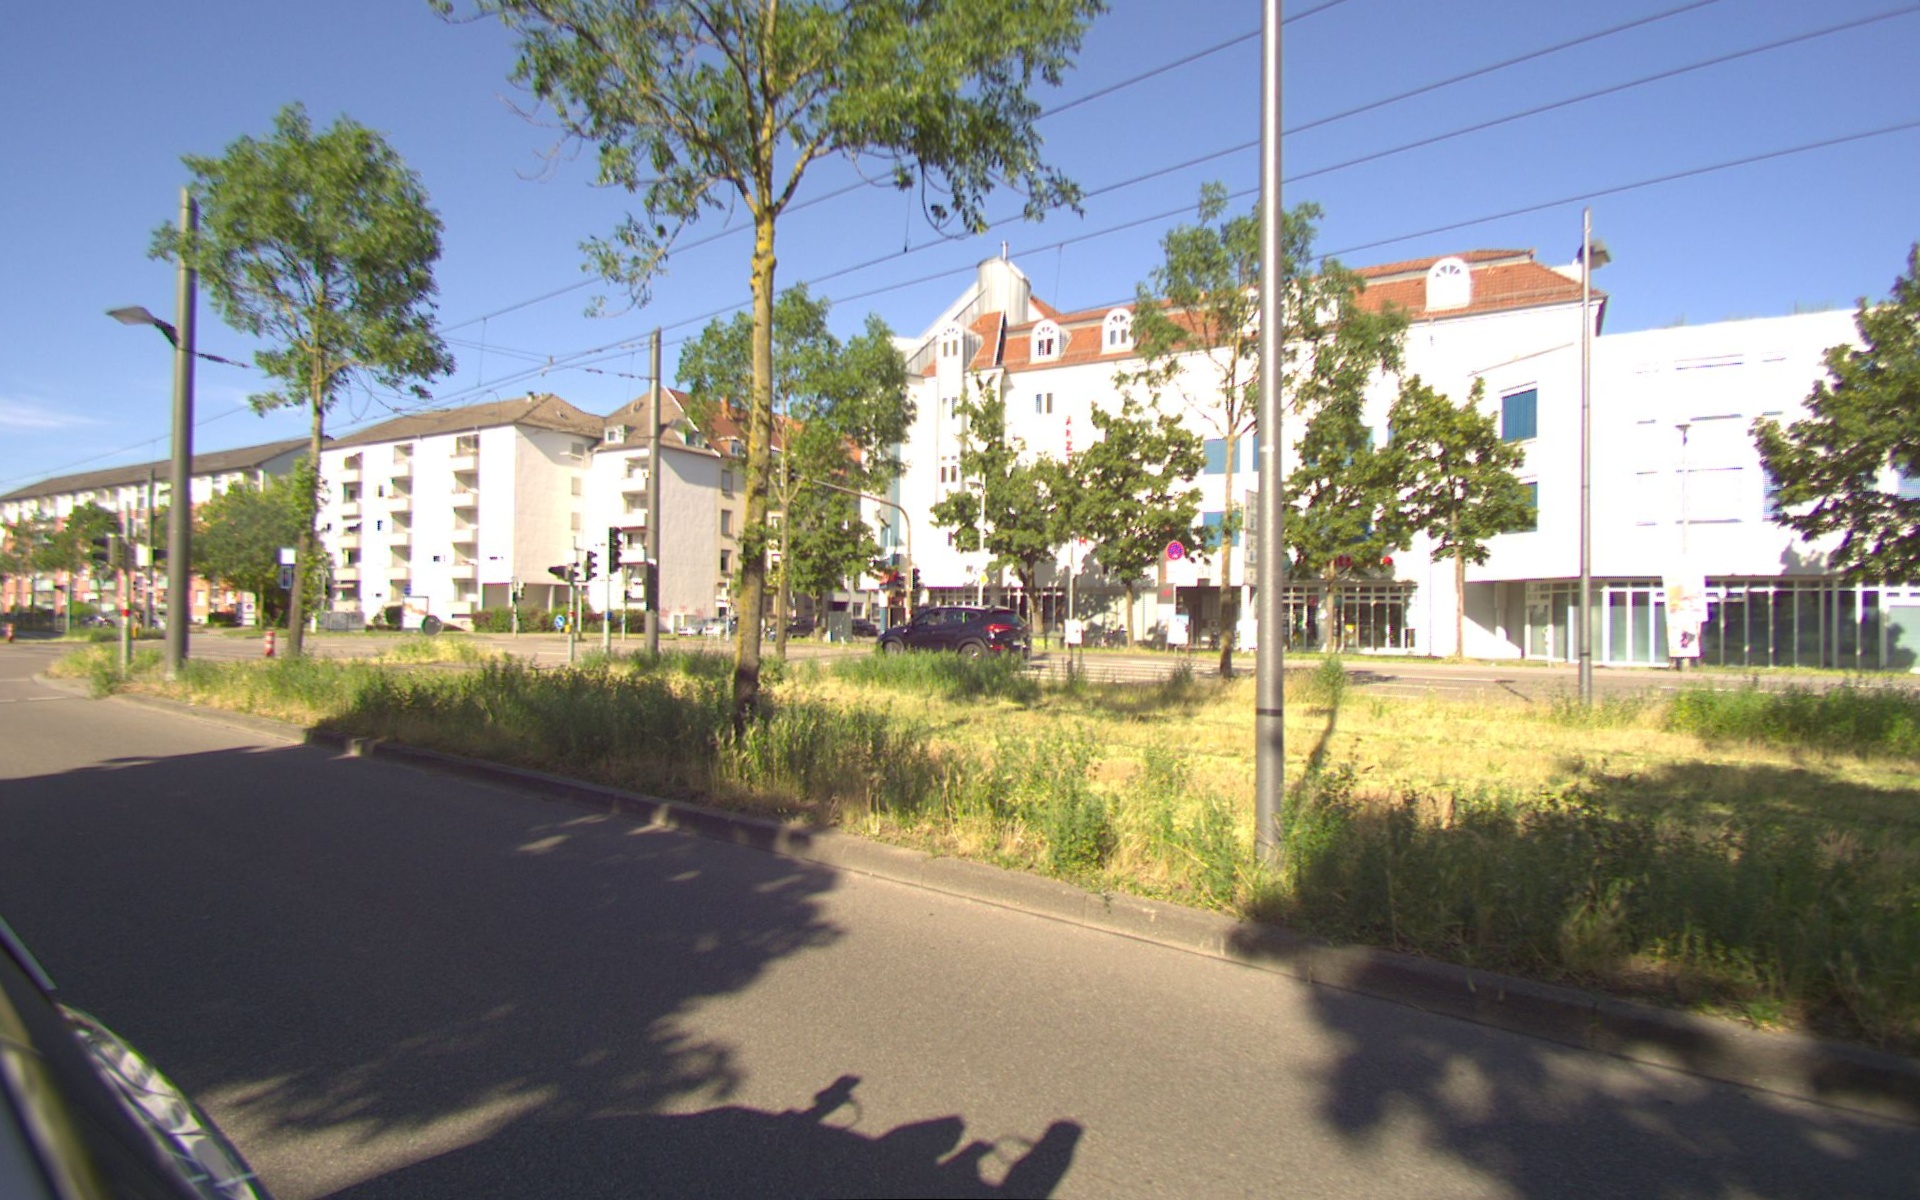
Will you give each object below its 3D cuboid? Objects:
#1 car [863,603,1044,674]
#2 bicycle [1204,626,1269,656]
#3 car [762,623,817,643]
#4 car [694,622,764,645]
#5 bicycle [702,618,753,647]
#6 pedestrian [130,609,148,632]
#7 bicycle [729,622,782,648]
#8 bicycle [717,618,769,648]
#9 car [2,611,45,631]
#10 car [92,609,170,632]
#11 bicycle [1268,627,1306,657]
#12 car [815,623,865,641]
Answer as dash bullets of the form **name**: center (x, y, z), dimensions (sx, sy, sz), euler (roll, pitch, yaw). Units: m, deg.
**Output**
- **car**: center (-0.227, 0.953, 25.879), dimensions (4.481, 1.653, 1.802), euler (-1, -2, 37)
- **bicycle**: center (11.459, 1.685, 42.003), dimensions (2.547, 1.222, 0.711), euler (-1, -2, 36)
- **car**: center (-12.008, 2.324, 71.453), dimensions (1.696, 1.320, 4.048), euler (-1, -2, 29)
- **car**: center (-15.097, 2.164, 66.305), dimensions (2.325, 1.476, 4.147), euler (-1, -2, 29)
- **bicycle**: center (-10.809, 1.521, 47.162), dimensions (0.661, 1.319, 2.550), euler (-1, -2, 34)
- **pedestrian**: center (-60.353, 1.504, 74.418), dimensions (0.701, 1.724, 0.778), euler (-1, -2, 30)
- **bicycle**: center (-9.255, 1.584, 45.948), dimensions (0.781, 1.168, 2.550), euler (-1, -2, 34)
- **bicycle**: center (-9.957, 1.509, 46.542), dimensions (0.661, 1.319, 2.550), euler (-1, -2, 34)
- **car**: center (-84.197, 1.884, 90.963), dimensions (4.225, 1.723, 1.676), euler (-1, -2, 31)
- **car**: center (-61.341, 1.529, 74.956), dimensions (4.168, 1.723, 1.699), euler (1, -2, -28)
- **bicycle**: center (13.516, 1.710, 41.783), dimensions (0.718, 1.222, 2.521), euler (-1, -2, 36)
- **car**: center (-9.043, 2.404, 76.338), dimensions (1.696, 1.320, 4.048), euler (-1, -2, 29)
